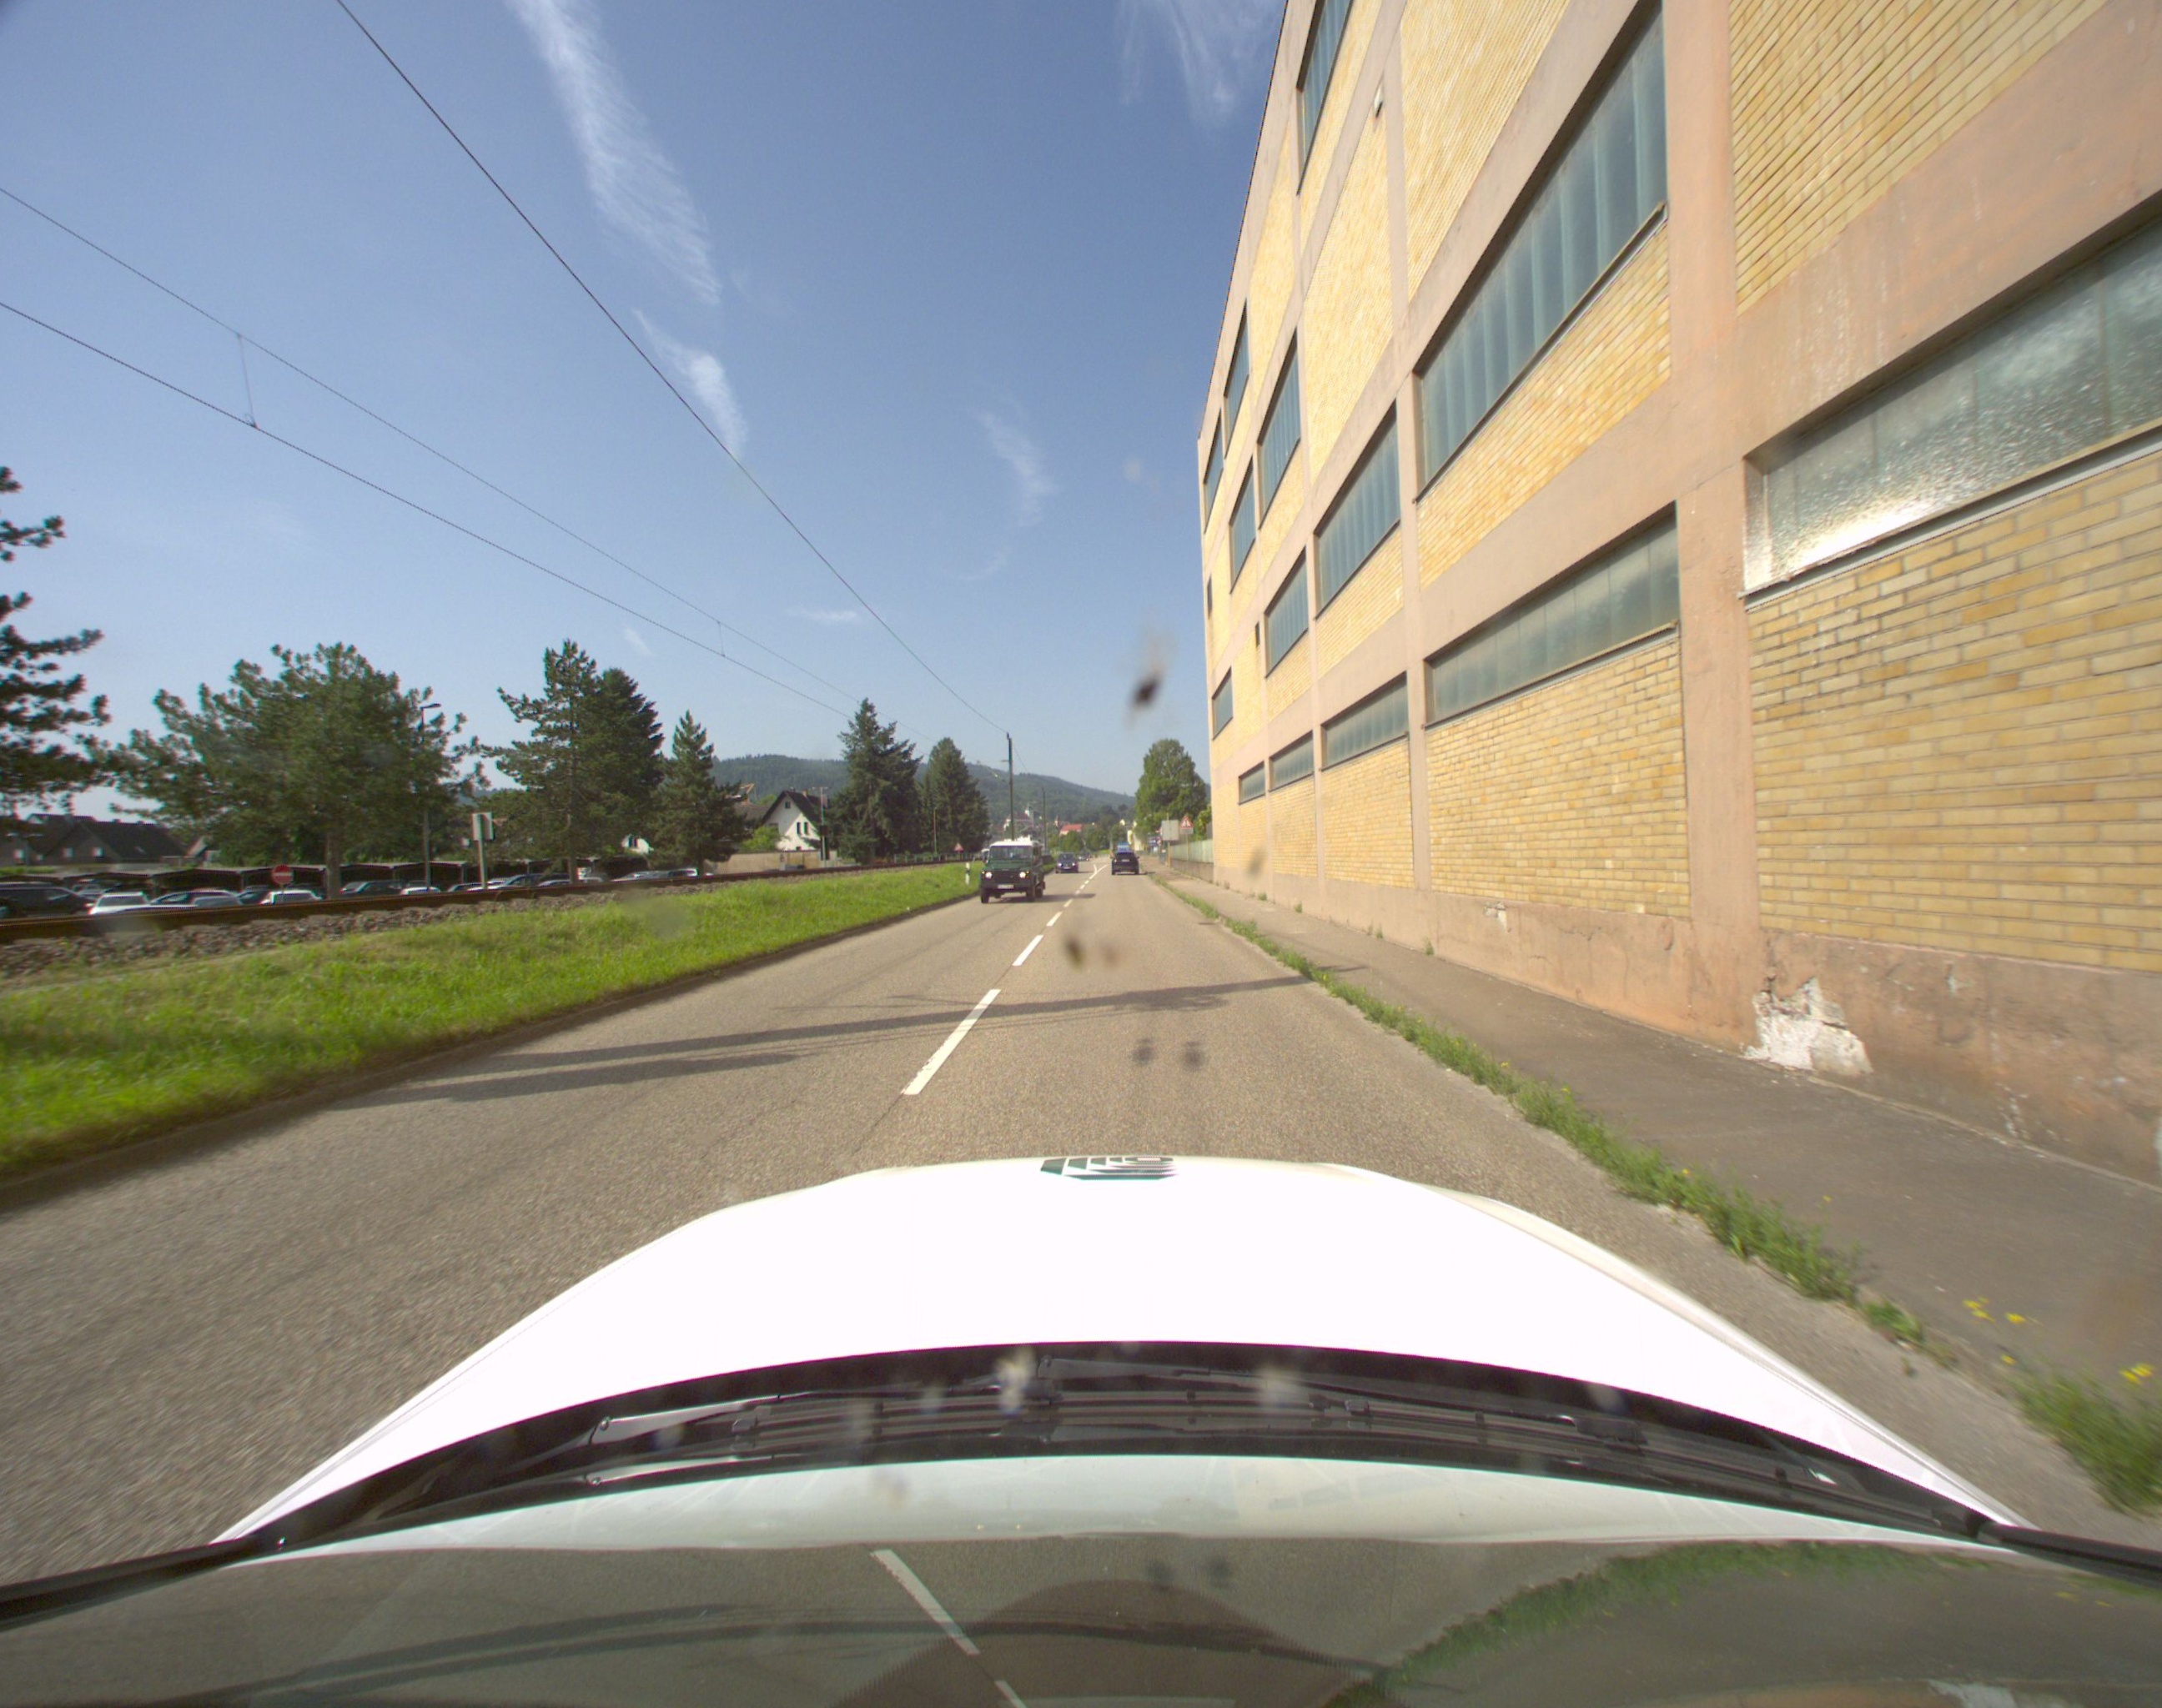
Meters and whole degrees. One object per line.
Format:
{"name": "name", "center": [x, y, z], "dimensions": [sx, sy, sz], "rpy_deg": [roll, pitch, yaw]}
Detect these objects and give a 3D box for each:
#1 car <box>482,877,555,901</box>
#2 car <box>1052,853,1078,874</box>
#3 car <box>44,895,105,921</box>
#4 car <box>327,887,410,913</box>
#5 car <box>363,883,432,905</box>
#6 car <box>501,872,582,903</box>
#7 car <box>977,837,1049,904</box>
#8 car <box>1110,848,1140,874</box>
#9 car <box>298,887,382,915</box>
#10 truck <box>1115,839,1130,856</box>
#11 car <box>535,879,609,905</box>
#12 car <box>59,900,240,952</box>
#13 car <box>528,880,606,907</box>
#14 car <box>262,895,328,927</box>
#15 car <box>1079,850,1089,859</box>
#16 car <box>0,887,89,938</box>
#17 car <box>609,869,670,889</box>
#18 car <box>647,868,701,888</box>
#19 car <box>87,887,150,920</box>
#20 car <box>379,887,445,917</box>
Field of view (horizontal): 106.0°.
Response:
{"name": "car", "center": [-35.974, 2.207, 52.135], "dimensions": [1.438, 1.325, 3.559], "rpy_deg": [-3, 0, 39]}
{"name": "car", "center": [-1.230, 0.689, 63.289], "dimensions": [1.724, 1.526, 4.095], "rpy_deg": [-1, 0, 2]}
{"name": "car", "center": [-56.582, 3.024, 45.771], "dimensions": [3.492, 1.325, 1.466], "rpy_deg": [-3, 0, 27]}
{"name": "car", "center": [-43.199, 2.760, 49.449], "dimensions": [1.438, 1.325, 3.559], "rpy_deg": [-3, 0, 39]}
{"name": "car", "center": [-49.916, 2.912, 59.547], "dimensions": [3.531, 1.325, 1.450], "rpy_deg": [-3, 0, -15]}
{"name": "car", "center": [-33.622, 2.077, 50.844], "dimensions": [1.625, 1.688, 3.830], "rpy_deg": [-2, 0, 38]}
{"name": "car", "center": [-2.213, 0.515, 27.795], "dimensions": [1.751, 2.078, 4.812], "rpy_deg": [-1, 0, 3]}
{"name": "car", "center": [3.043, 0.450, 56.309], "dimensions": [1.912, 1.640, 4.003], "rpy_deg": [-2, 0, 3]}
{"name": "car", "center": [-45.457, 2.858, 50.006], "dimensions": [1.438, 1.394, 3.559], "rpy_deg": [-3, 0, 39]}
{"name": "truck", "center": [7.453, -1.115, 146.801], "dimensions": [2.305, 2.970, 5.965], "rpy_deg": [-2, 0, 0]}
{"name": "car", "center": [-31.205, 2.320, 50.016], "dimensions": [1.438, 1.325, 3.559], "rpy_deg": [-3, 0, 39]}
{"name": "car", "center": [-30.992, 2.344, 27.215], "dimensions": [1.544, 1.325, 3.882], "rpy_deg": [-3, 0, 40]}
{"name": "car", "center": [-29.979, 2.309, 47.593], "dimensions": [1.438, 1.325, 3.559], "rpy_deg": [-3, 0, 39]}
{"name": "car", "center": [-36.346, 2.623, 37.644], "dimensions": [3.491, 1.325, 1.467], "rpy_deg": [-3, 0, 34]}
{"name": "car", "center": [0.540, 0.155, 141.144], "dimensions": [1.735, 1.507, 4.200], "rpy_deg": [-2, 0, 1]}
{"name": "car", "center": [-31.633, 1.754, 23.557], "dimensions": [3.542, 1.357, 1.500], "rpy_deg": [-3, 0, -44]}
{"name": "car", "center": [-36.166, 2.048, 66.833], "dimensions": [3.983, 1.536, 1.814], "rpy_deg": [-1, 0, -7]}
{"name": "car", "center": [-36.735, 2.178, 73.569], "dimensions": [3.983, 1.665, 1.814], "rpy_deg": [-1, 0, -7]}
{"name": "car", "center": [-43.555, 2.232, 36.844], "dimensions": [3.491, 1.325, 1.467], "rpy_deg": [-3, 0, 35]}
{"name": "car", "center": [-32.282, 2.314, 39.272], "dimensions": [3.491, 1.325, 1.467], "rpy_deg": [-3, 0, 34]}
